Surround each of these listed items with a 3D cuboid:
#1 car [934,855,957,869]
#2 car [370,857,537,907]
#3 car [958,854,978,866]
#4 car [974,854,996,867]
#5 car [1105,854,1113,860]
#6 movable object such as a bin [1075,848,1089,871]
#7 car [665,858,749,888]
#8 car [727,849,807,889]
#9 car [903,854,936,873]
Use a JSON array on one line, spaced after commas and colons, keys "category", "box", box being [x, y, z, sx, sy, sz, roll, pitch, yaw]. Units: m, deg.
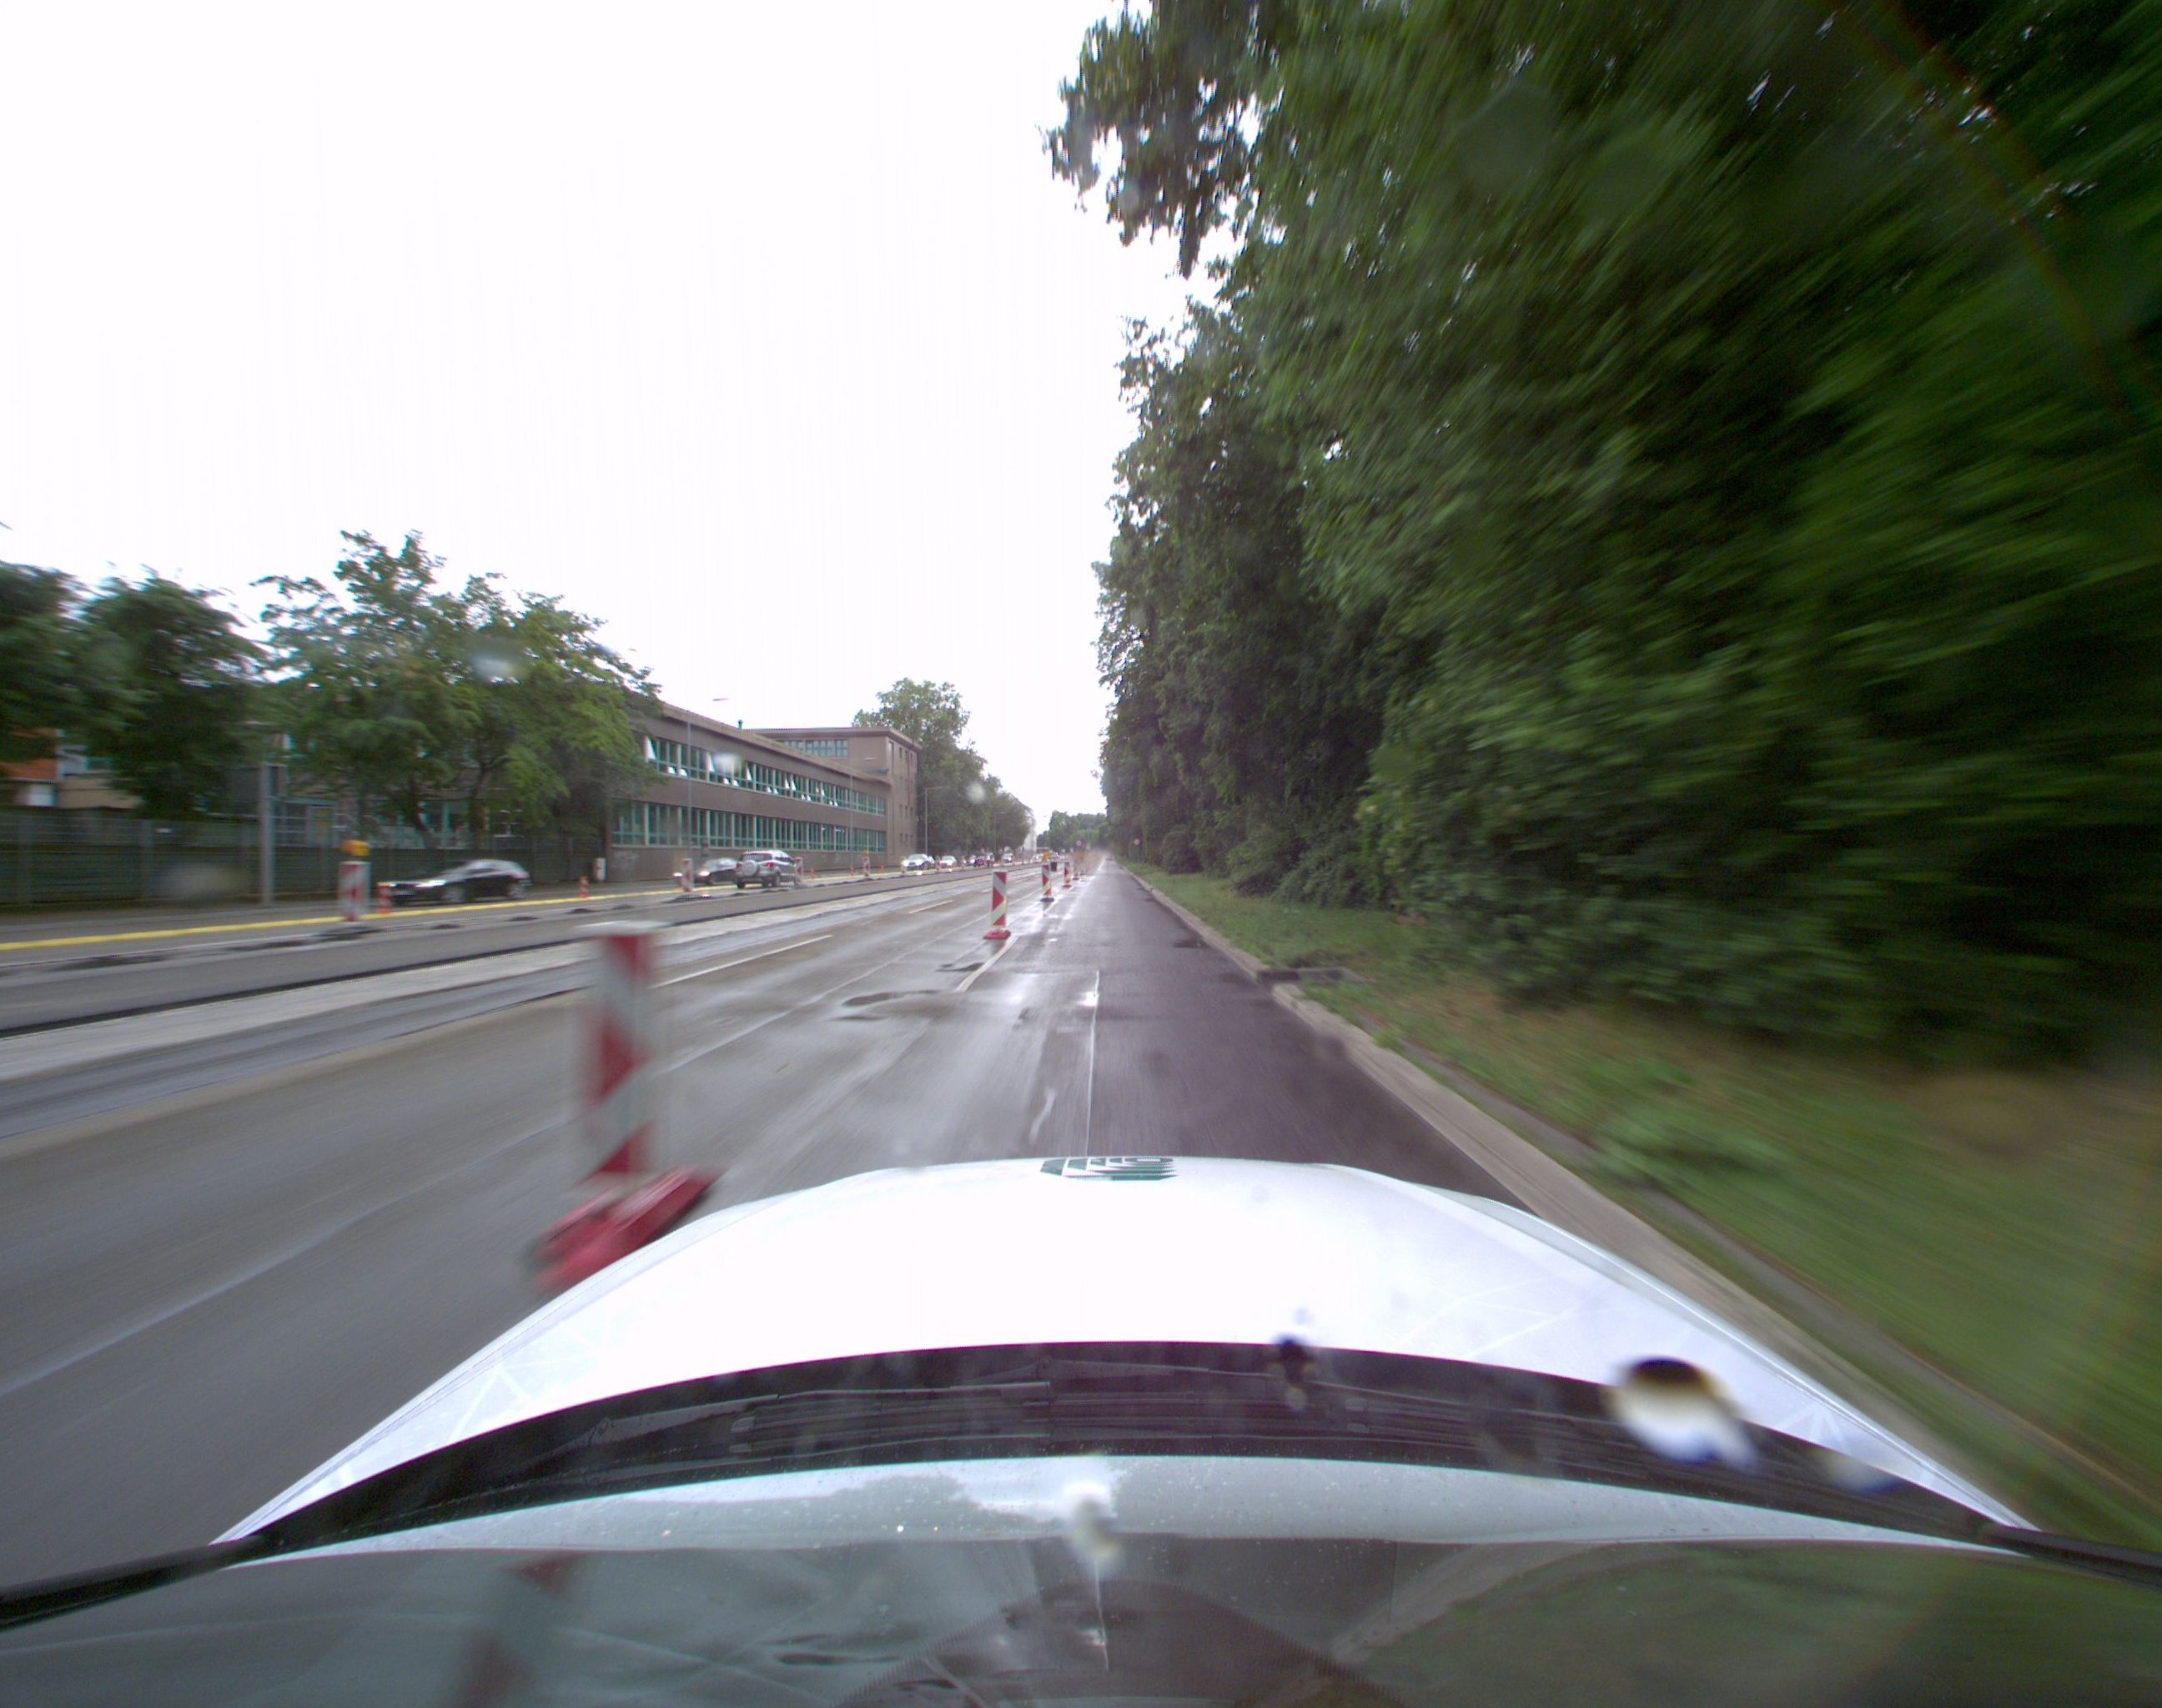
[{"category": "car", "box": [-15.302, 0.891, 92.323, 1.797, 1.534, 3.993, 1, -1, 2]}, {"category": "car", "box": [-19.831, 0.833, 26.034, 1.987, 1.429, 4.265, 0, 0, 1]}, {"category": "car", "box": [-15.021, 0.788, 108.485, 1.886, 1.502, 4.520, 1, 0, 3]}, {"category": "car", "box": [-11.493, 0.733, 97.709, 1.986, 1.519, 4.001, 1, -1, 1]}, {"category": "car", "box": [7.202, 0.788, 207.093, 1.986, 1.673, 4.002, 1, -1, 2]}, {"category": "movable object such as a bin", "box": [0.171, 0.786, 123.794, 1.986, 3.367, 5.985, 1, -1, 2]}, {"category": "car", "box": [-19.472, 0.949, 42.666, 2.038, 1.454, 4.766, 1, 0, 2]}, {"category": "car", "box": [-13.701, 0.649, 35.782, 1.847, 1.648, 4.001, 1, -1, 2]}, {"category": "car", "box": [-15.552, 0.890, 78.694, 1.980, 1.768, 4.678, 1, -1, 3]}]
